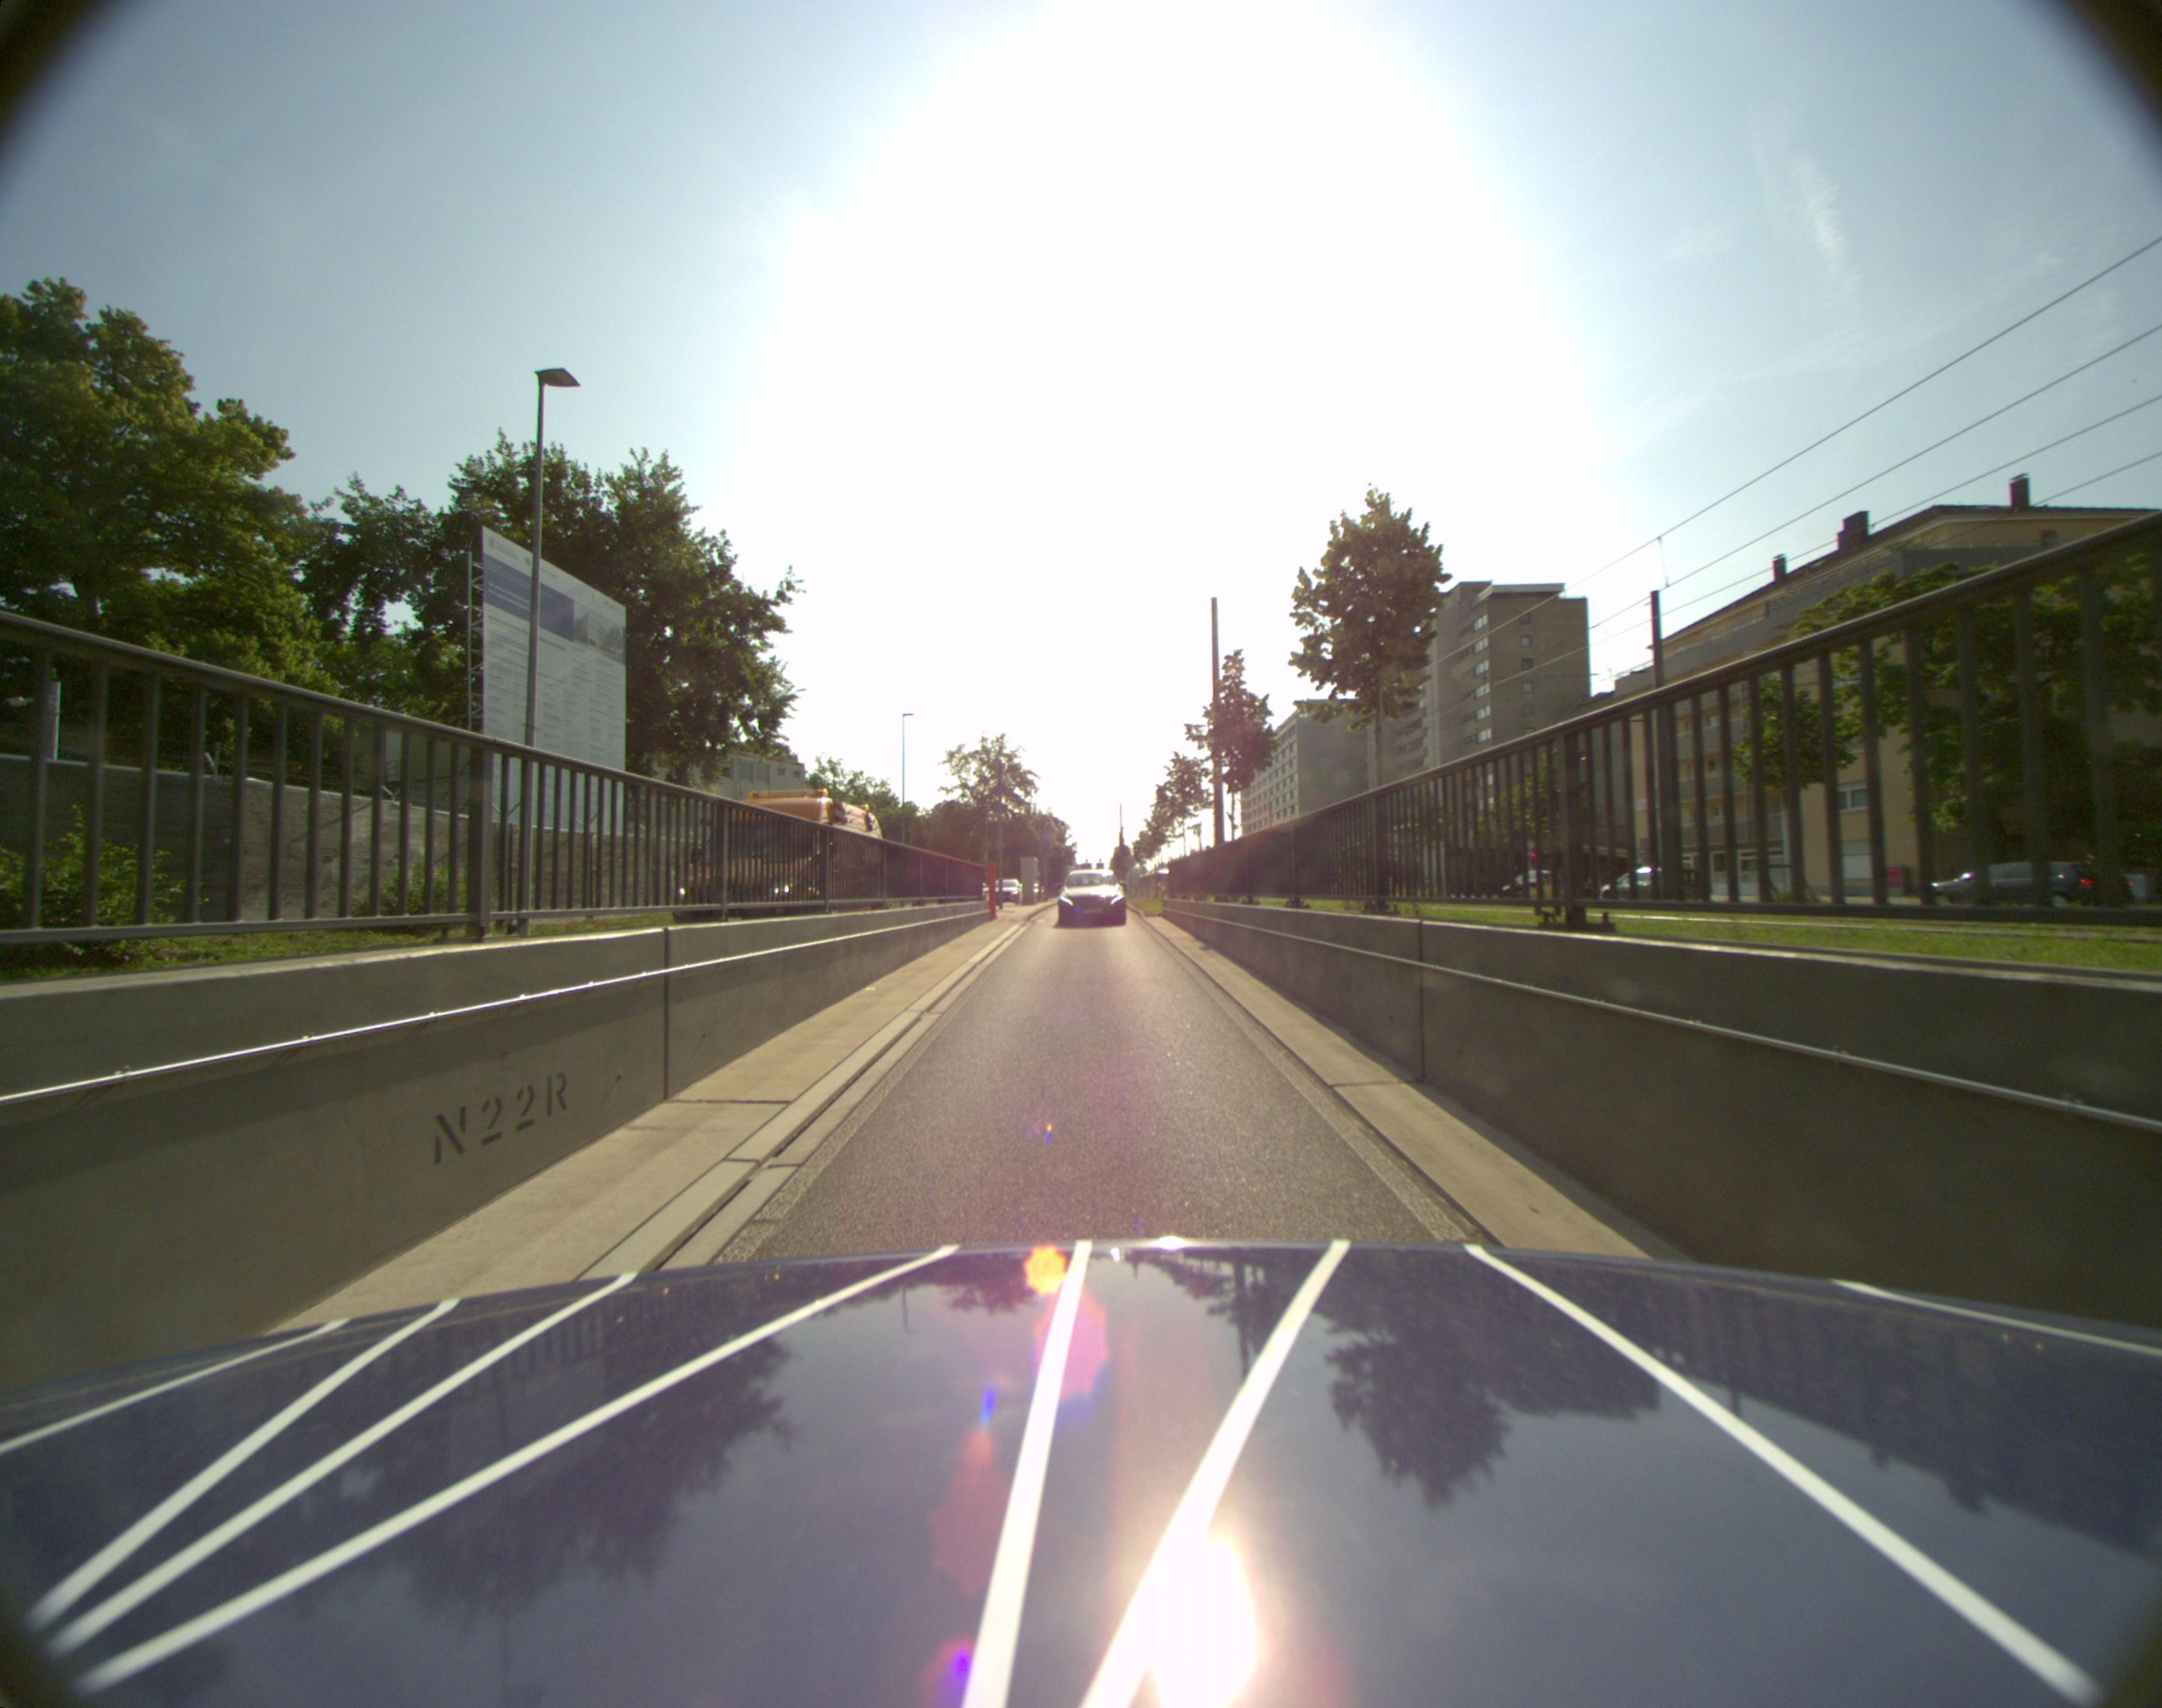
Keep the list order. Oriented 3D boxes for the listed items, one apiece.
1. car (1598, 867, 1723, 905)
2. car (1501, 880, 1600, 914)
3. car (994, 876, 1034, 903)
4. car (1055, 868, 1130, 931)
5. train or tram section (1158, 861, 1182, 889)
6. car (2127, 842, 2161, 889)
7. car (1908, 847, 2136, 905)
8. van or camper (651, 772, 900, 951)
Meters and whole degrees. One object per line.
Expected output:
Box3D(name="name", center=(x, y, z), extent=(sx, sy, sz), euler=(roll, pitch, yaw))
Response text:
Box3D(name="car", center=(25.738, 1.440, 33.993), extent=(1.999, 1.567, 4.530), euler=(0, -2, -2))
Box3D(name="car", center=(22.502, 2.046, 36.654), extent=(1.999, 1.503, 4.399), euler=(-1, -2, 0))
Box3D(name="car", center=(-4.089, 2.175, 46.900), extent=(1.897, 1.560, 4.253), euler=(-2, -2, 2))
Box3D(name="car", center=(0.372, 1.174, 20.612), extent=(1.759, 1.436, 4.620), euler=(-3, -2, 2))
Box3D(name="train or tram section", center=(11.021, 2.711, 94.983), extent=(2.500, 3.408, 6.673), euler=(-1, -2, 3))
Box3D(name="car", center=(42.439, 0.398, 28.042), extent=(4.640, 1.737, 2.166), euler=(0, -2, 0))
Box3D(name="car", center=(25.920, 0.680, 21.164), extent=(1.522, 1.454, 3.827), euler=(0, -4, 0))
Box3D(name="van or camper", center=(-5.097, 0.210, 13.909), extent=(1.991, 2.456, 6.063), euler=(-3, -2, 0))
